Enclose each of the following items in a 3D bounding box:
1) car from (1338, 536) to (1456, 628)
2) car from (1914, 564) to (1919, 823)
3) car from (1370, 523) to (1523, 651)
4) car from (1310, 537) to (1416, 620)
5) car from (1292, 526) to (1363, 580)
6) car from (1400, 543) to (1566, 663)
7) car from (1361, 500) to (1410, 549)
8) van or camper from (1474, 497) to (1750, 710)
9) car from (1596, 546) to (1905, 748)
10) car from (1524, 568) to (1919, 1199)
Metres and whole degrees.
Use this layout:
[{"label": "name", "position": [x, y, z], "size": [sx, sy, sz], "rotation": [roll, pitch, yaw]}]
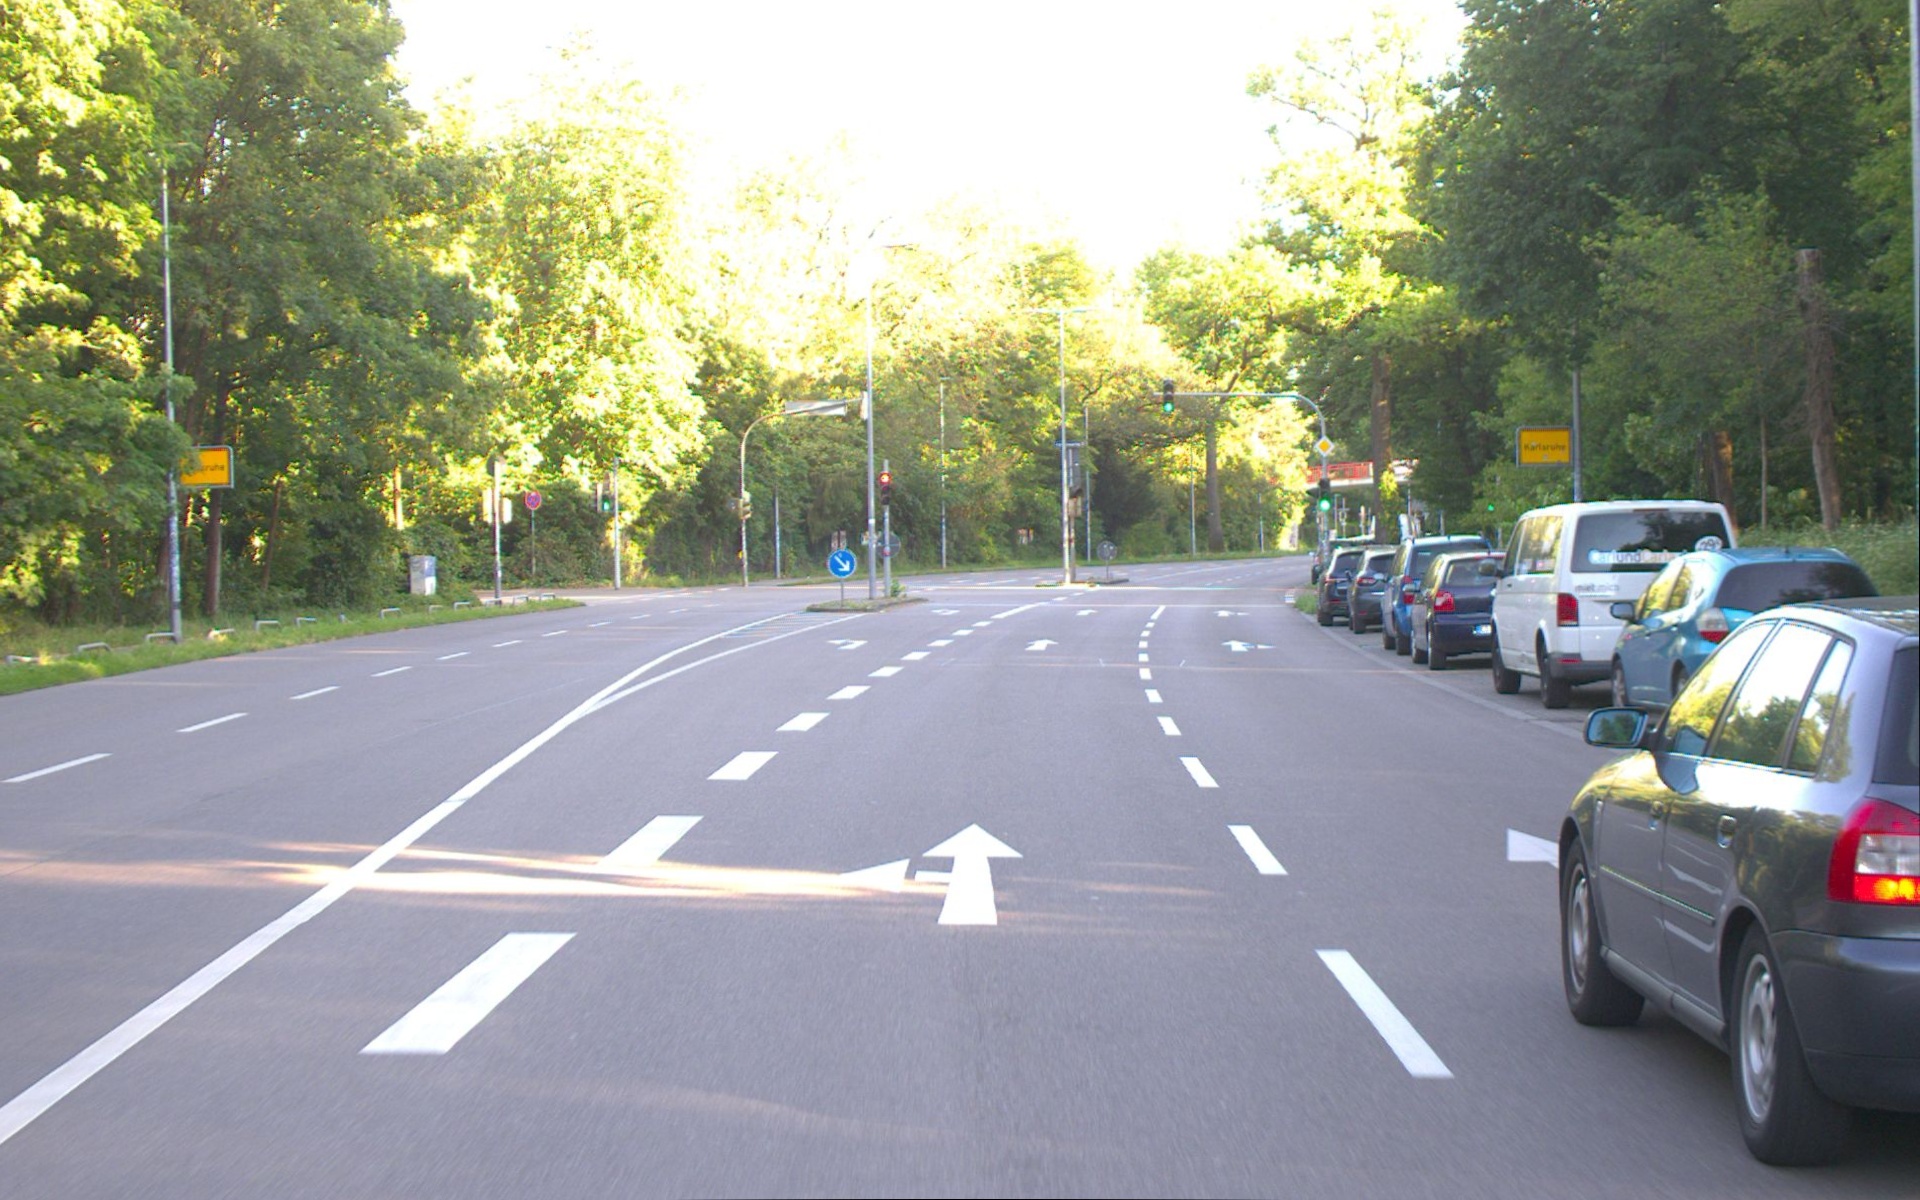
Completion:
[{"label": "car", "position": [7.611, -0.343, 60.132], "size": [1.728, 1.485, 4.089], "rotation": [-2, 1, 4]}, {"label": "car", "position": [5.999, 0.528, 16.587], "size": [1.728, 1.405, 4.090], "rotation": [-1, 1, 1]}, {"label": "car", "position": [6.943, -0.225, 49.411], "size": [1.728, 1.698, 4.090], "rotation": [-2, 1, 3]}, {"label": "car", "position": [7.660, -0.430, 65.634], "size": [1.728, 1.456, 4.167], "rotation": [-2, 1, 4]}, {"label": "car", "position": [12.037, -1.562, 112.770], "size": [1.994, 1.612, 4.000], "rotation": [-4, 1, 3]}, {"label": "car", "position": [6.642, 0.001, 43.972], "size": [1.650, 1.436, 4.113], "rotation": [0, 1, 2]}, {"label": "car", "position": [20.761, -3.673, 167.590], "size": [2.308, 2.328, 4.558], "rotation": [0, 1, 8]}, {"label": "van or camper", "position": [6.420, -0.022, 34.413], "size": [1.832, 1.963, 5.341], "rotation": [0, 1, 1]}, {"label": "car", "position": [6.410, 0.327, 28.250], "size": [1.647, 1.517, 3.867], "rotation": [-1, 1, 0]}, {"label": "car", "position": [2.769, 0.653, 9.650], "size": [1.727, 1.436, 4.090], "rotation": [0, 1, 0]}]
